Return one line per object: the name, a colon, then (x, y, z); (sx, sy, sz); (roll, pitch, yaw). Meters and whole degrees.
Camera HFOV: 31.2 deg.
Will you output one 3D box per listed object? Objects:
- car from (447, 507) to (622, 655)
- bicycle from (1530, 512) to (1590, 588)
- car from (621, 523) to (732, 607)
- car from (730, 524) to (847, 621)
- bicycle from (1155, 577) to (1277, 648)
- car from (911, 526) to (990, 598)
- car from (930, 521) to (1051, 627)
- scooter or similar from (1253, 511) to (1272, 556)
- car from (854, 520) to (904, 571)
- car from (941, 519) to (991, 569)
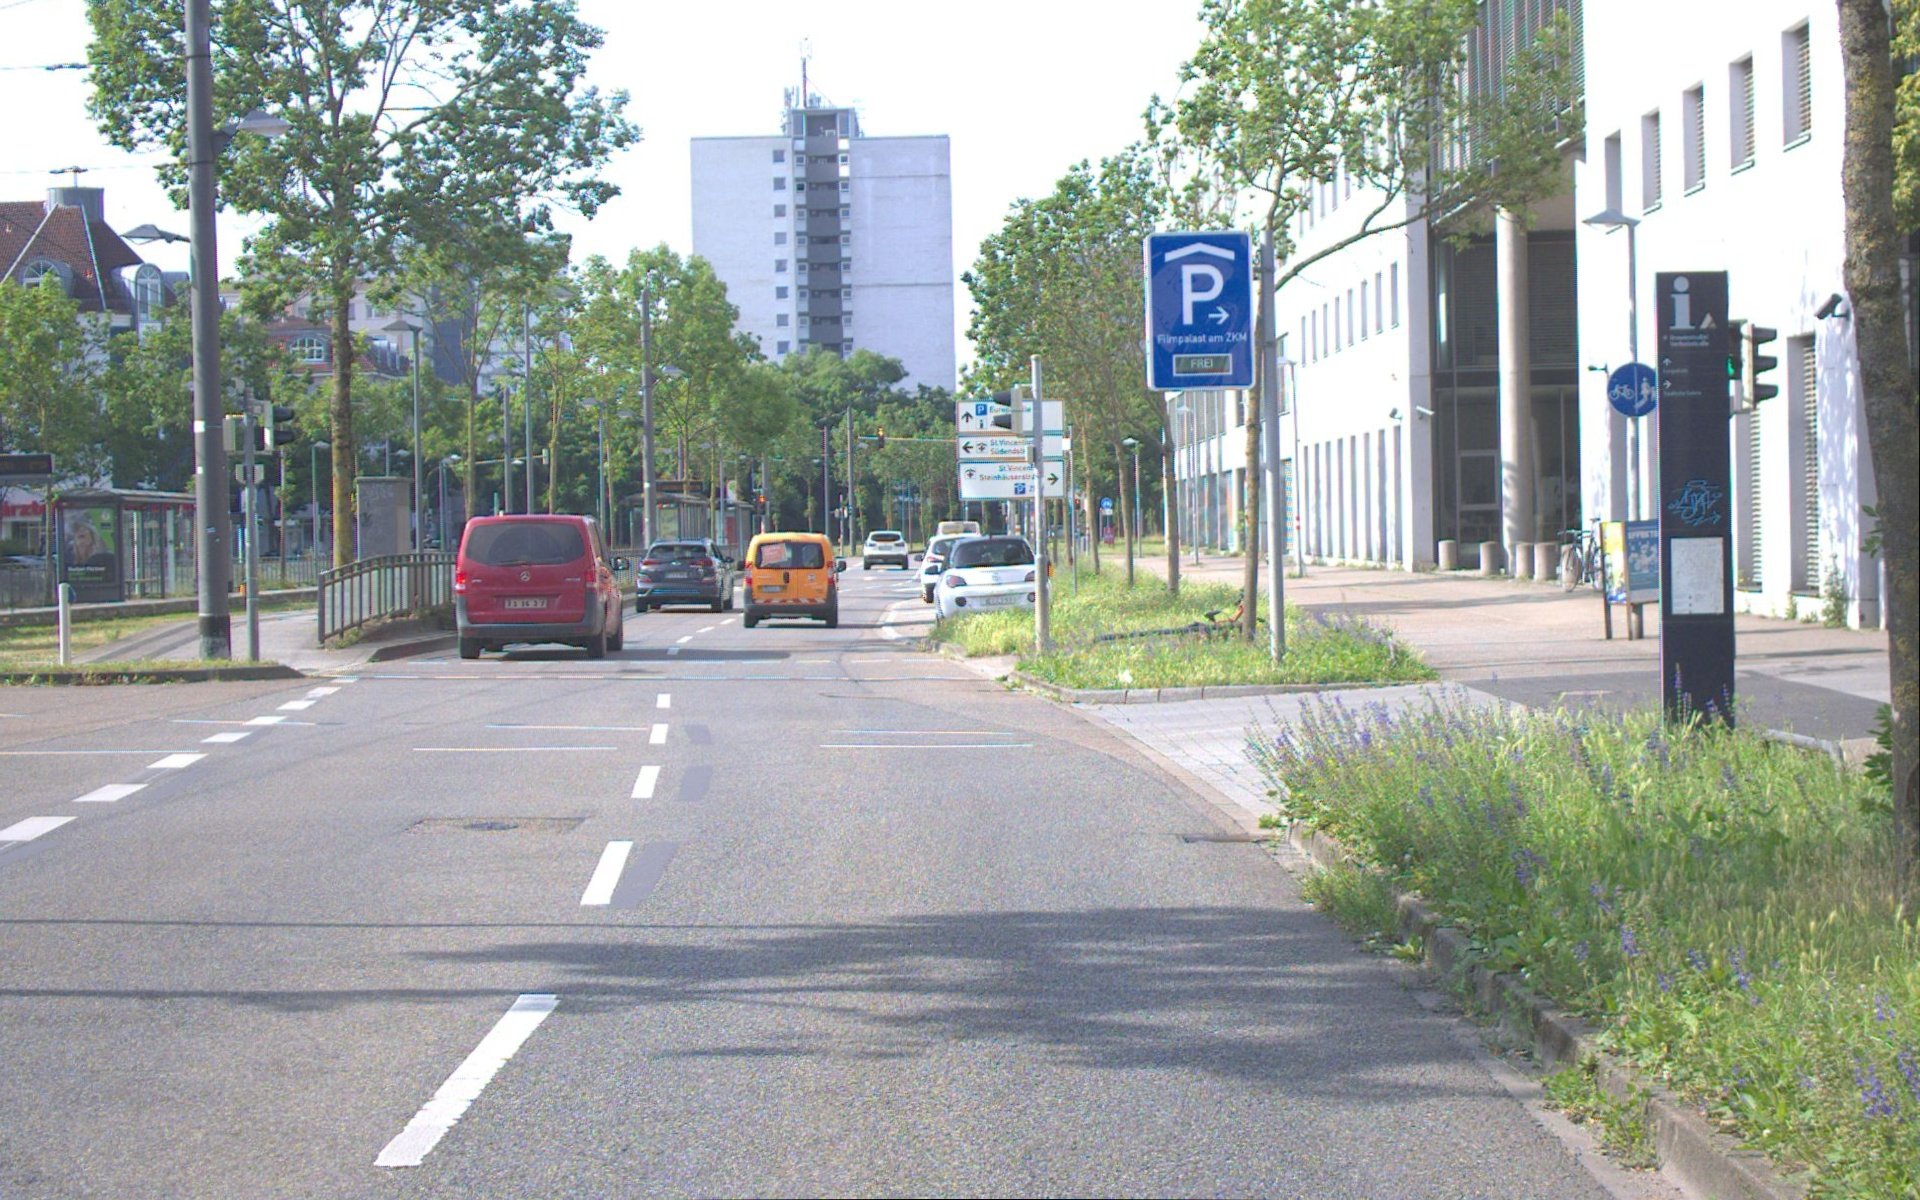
car: (-5.574, -0.279, 45.455); (1.874, 1.847, 4.000); (-1, 1, -1)
bicycle: (8.882, -0.741, 50.894); (0.493, 1.082, 1.550); (-3, 1, -3)
car: (-5.989, -0.763, 72.978); (1.993, 1.700, 4.000); (-1, 1, 0)
car: (-3.095, -0.530, 62.600); (1.876, 1.690, 3.973); (-1, 1, 1)
bicycle: (2.864, 0.143, 38.384); (1.271, 0.630, 0.521); (-7, 0, 7)
car: (-0.212, -0.892, 78.560); (1.689, 1.521, 3.851); (-3, 1, 0)
car: (0.429, -0.414, 52.463); (1.720, 1.514, 3.781); (-1, 1, -1)
scooter or similar: (8.341, -1.840, 94.776); (0.462, 1.209, 1.254); (-2, 1, 6)
car: (-3.316, -2.250, 141.544); (1.993, 2.007, 4.000); (-1, 1, -1)
car: (0.236, -2.337, 142.507); (1.993, 2.007, 4.000); (-1, 1, 0)
